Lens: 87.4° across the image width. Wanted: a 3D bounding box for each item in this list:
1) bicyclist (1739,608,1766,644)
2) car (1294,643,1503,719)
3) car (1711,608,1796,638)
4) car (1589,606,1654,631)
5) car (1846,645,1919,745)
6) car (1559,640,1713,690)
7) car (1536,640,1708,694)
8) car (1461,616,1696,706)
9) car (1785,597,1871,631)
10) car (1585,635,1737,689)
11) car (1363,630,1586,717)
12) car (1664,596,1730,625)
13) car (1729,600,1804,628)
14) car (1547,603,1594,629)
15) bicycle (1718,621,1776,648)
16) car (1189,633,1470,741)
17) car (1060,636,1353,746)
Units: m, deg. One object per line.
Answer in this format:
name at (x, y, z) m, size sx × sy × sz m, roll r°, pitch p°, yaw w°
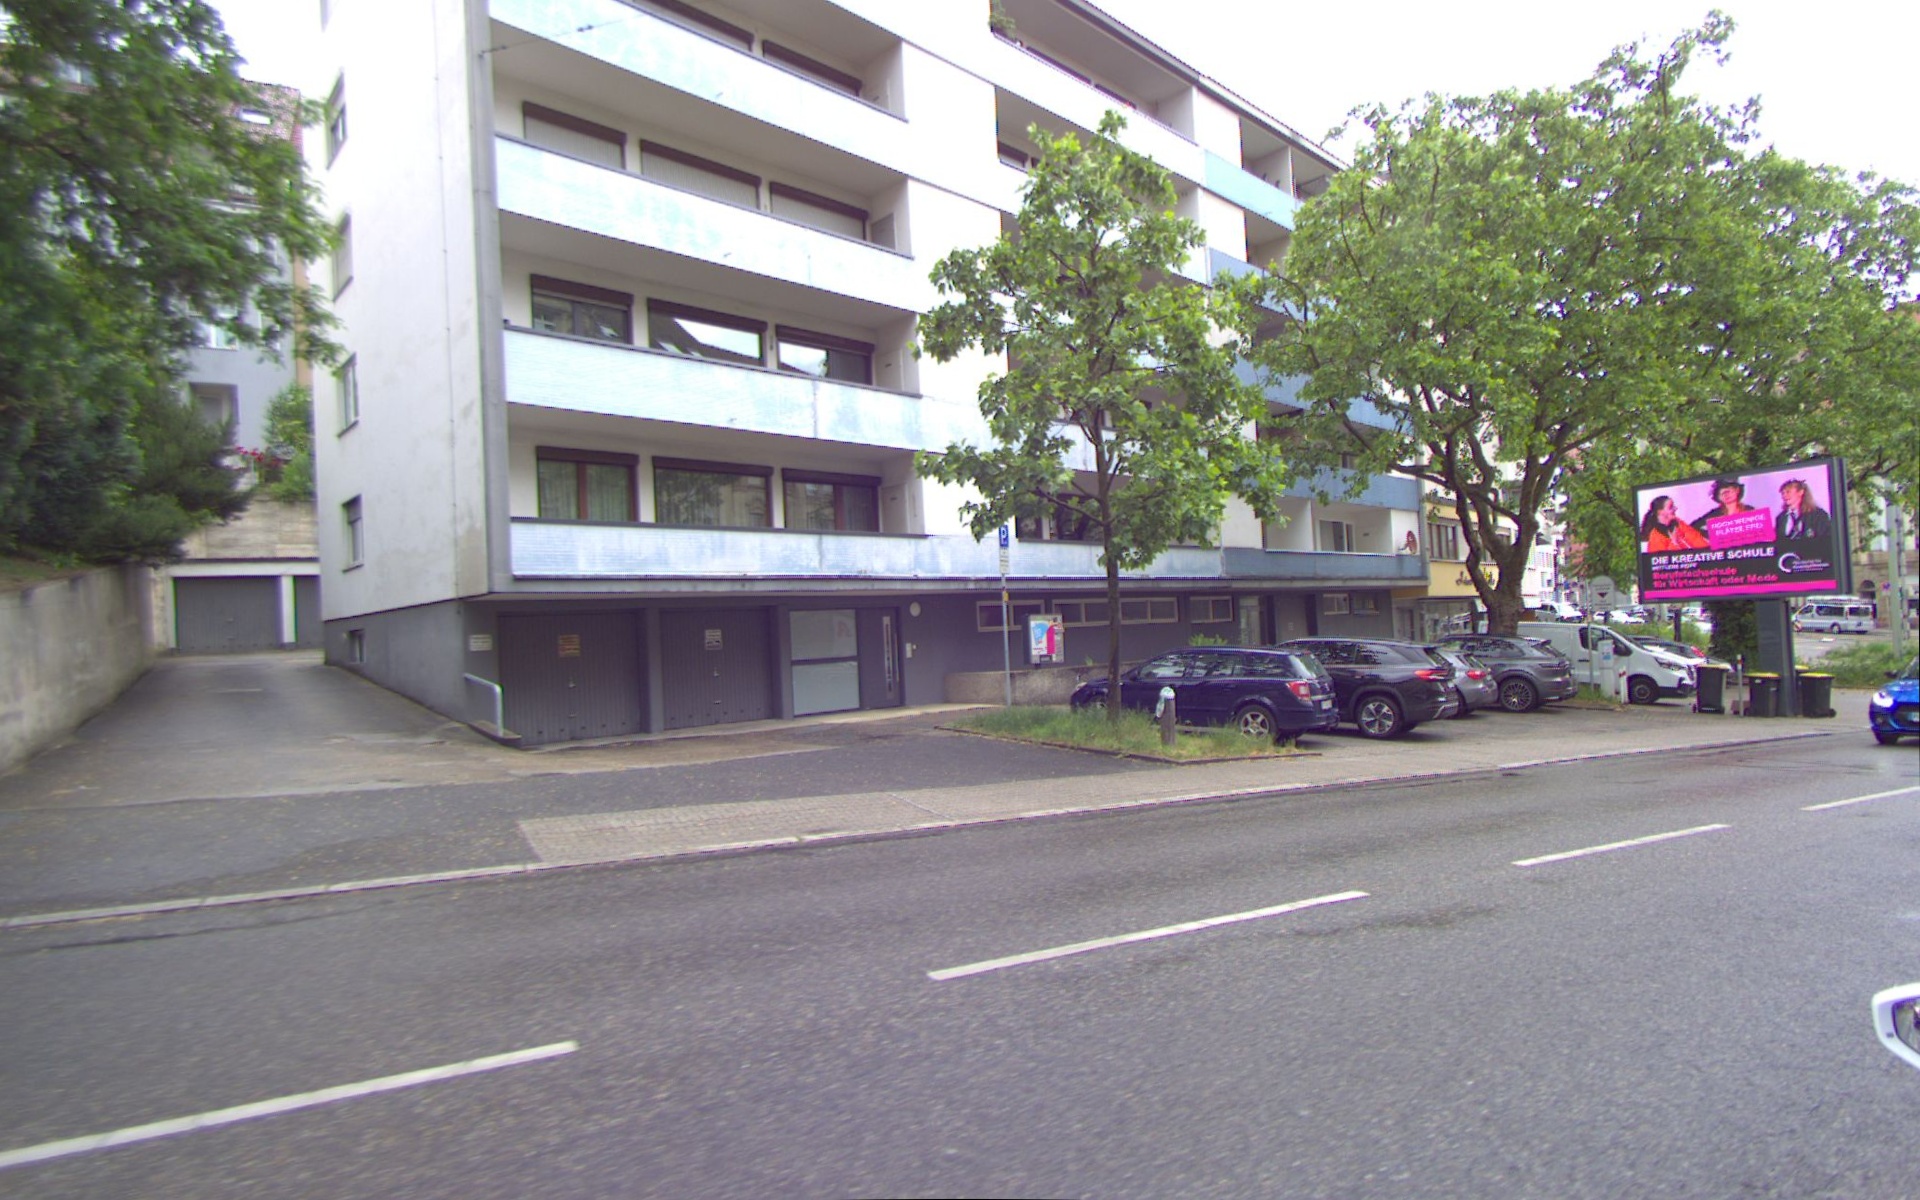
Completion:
bicyclist at (40.966, 1.360, 51.956) m, size 0.755 × 1.844 × 0.785 m, roll -1°, pitch -3°, yaw 10°
car at (9.391, 1.673, 21.617) m, size 3.870 × 1.449 × 1.742 m, roll -1°, pitch -2°, yaw 36°
car at (49.200, 1.422, 62.380) m, size 1.960 × 1.749 × 4.250 m, roll -1°, pitch 0°, yaw 2°
car at (49.167, 1.362, 74.780) m, size 1.961 × 1.749 × 4.250 m, roll -2°, pitch -1°, yaw 0°
car at (15.809, 1.440, 15.816) m, size 3.700 × 1.469 × 1.707 m, roll 1°, pitch -5°, yaw -31°
car at (21.563, 2.033, 32.089) m, size 3.926 × 1.469 × 1.761 m, roll -1°, pitch -3°, yaw 40°
car at (19.720, 1.955, 30.013) m, size 4.122 × 1.475 × 1.786 m, roll -1°, pitch -3°, yaw 40°
car at (16.041, 1.522, 26.233) m, size 5.001 × 2.132 × 1.983 m, roll -1°, pitch -2°, yaw 40°
car at (57.978, 0.895, 67.197) m, size 1.961 × 2.130 × 4.291 m, roll 0°, pitch 1°, yaw -1°
car at (23.385, 2.028, 33.587) m, size 4.072 × 1.675 × 1.762 m, roll -1°, pitch -2°, yaw 38°
car at (11.857, 1.617, 23.289) m, size 4.305 × 1.807 × 1.930 m, roll -1°, pitch -3°, yaw 40°
car at (58.012, 0.806, 79.154) m, size 1.961 × 2.130 × 4.291 m, roll 0°, pitch 1°, yaw -1°
car at (57.997, 0.976, 72.349) m, size 1.961 × 1.863 × 4.291 m, roll 0°, pitch 1°, yaw -1°
car at (49.374, 1.304, 81.334) m, size 1.545 × 2.040 × 4.001 m, roll 0°, pitch -1°, yaw 2°
bicycle at (40.780, 1.775, 52.064) m, size 2.229 × 1.337 × 0.674 m, roll -2°, pitch -3°, yaw 11°
car at (6.465, 1.476, 17.816) m, size 4.312 × 1.694 × 1.847 m, roll -3°, pitch -3°, yaw 39°
car at (4.000, 1.434, 16.655) m, size 4.303 × 1.594 × 1.935 m, roll -3°, pitch -3°, yaw 39°
